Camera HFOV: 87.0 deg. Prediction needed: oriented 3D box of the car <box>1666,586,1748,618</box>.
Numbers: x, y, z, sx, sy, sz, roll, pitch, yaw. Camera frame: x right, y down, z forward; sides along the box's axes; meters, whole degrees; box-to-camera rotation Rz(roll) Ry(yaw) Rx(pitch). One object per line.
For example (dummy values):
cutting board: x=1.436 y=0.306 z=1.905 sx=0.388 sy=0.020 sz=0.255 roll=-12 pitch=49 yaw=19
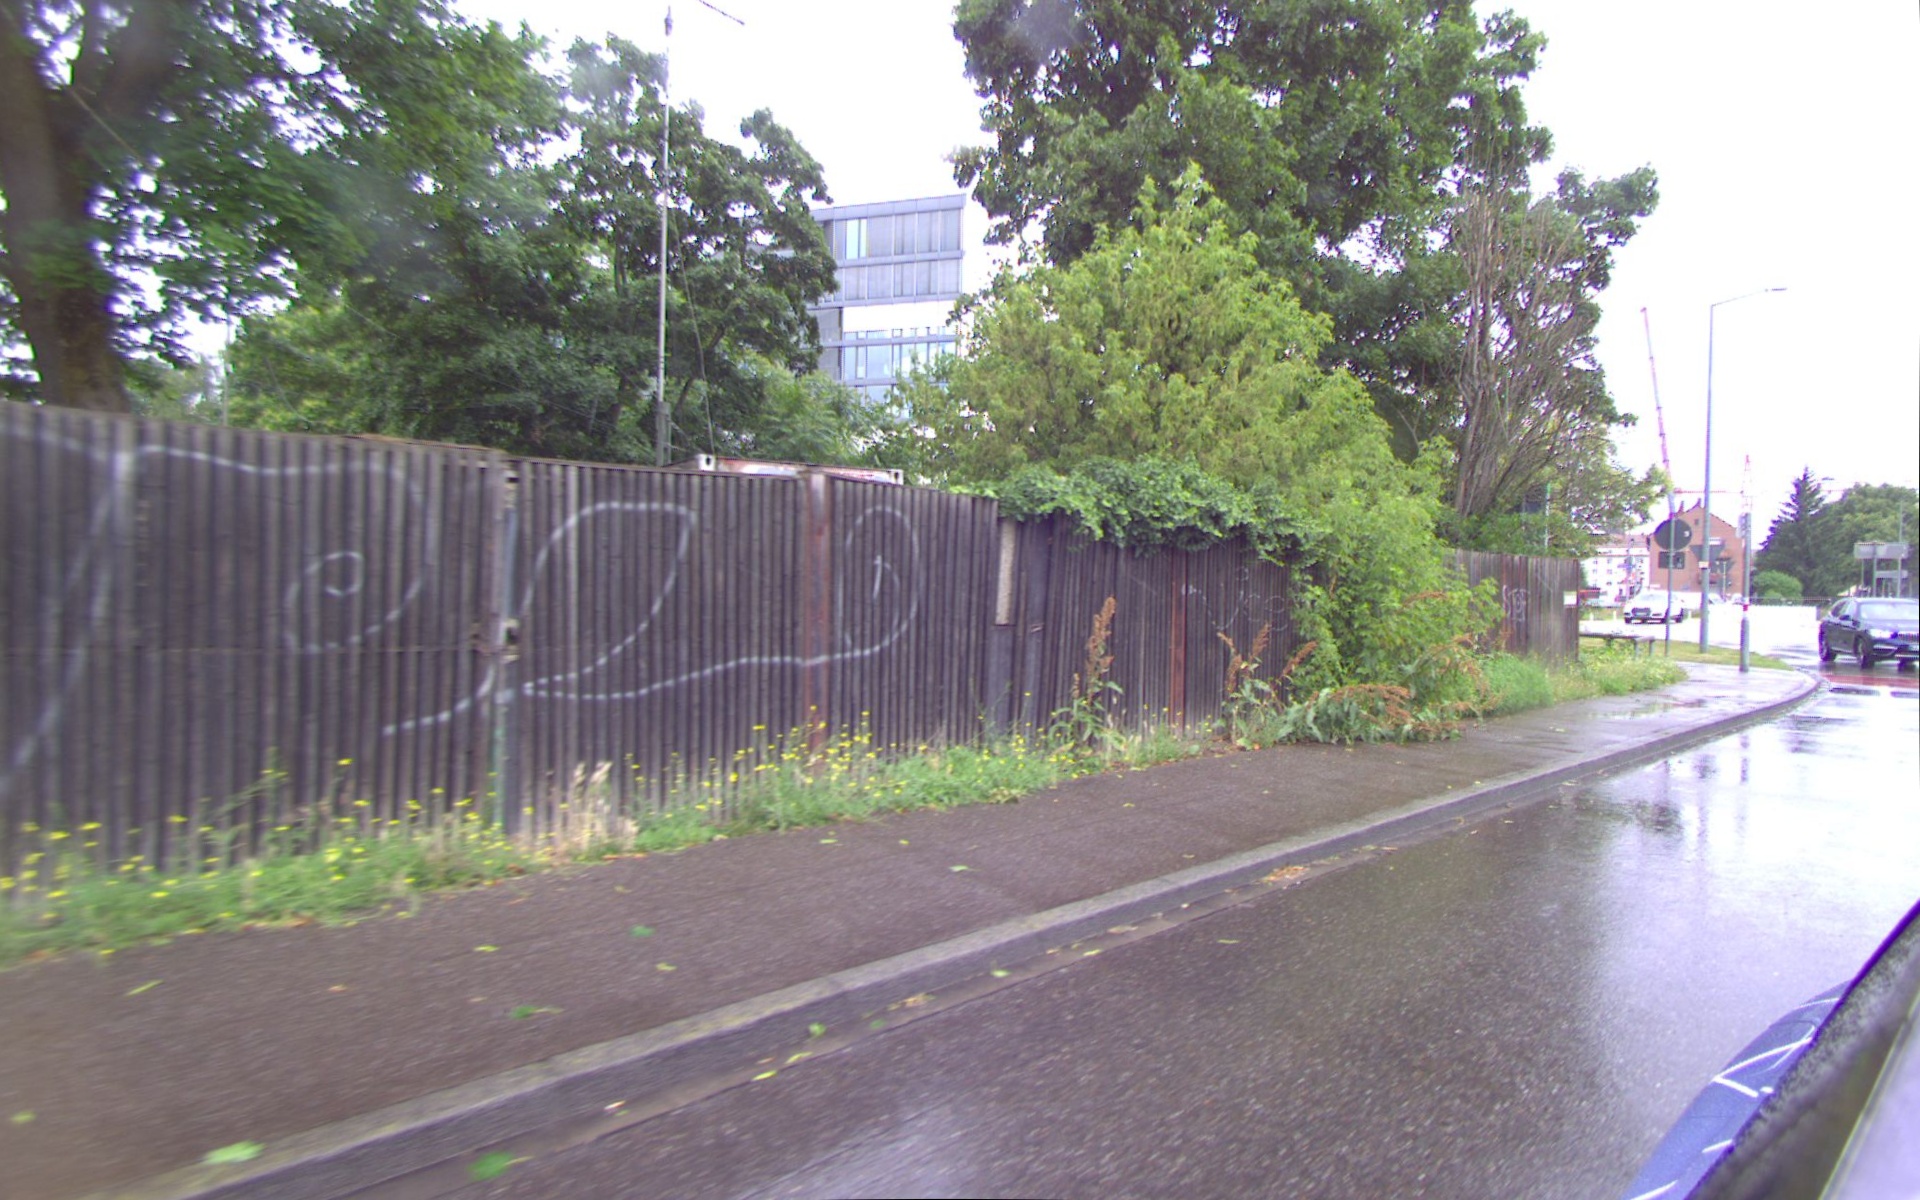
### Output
car: x=76.137 y=0.189 z=103.266 sx=2.308 sy=2.975 sz=6.441 roll=-2 pitch=2 yaw=-23

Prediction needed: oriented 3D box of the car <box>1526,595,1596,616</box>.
car: x=46.632 y=0.380 z=78.598 sx=4.527 sy=1.510 sz=1.589 roll=1 pitch=3 yaw=39

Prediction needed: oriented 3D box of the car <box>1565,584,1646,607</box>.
car: x=63.038 y=-0.484 z=98.992 sx=2.308 sy=2.038 sz=6.441 roll=-2 pitch=2 yaw=-23

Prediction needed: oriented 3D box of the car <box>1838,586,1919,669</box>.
car: x=23.043 y=0.601 z=24.706 sx=1.905 sy=1.768 sz=4.331 roll=0 pitch=3 yaw=34

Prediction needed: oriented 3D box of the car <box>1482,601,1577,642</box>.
car: x=28.133 y=1.027 z=50.169 sx=1.879 sy=1.768 sz=4.389 roll=-1 pitch=2 yaw=-6

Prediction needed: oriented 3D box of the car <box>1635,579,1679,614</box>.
car: x=38.267 y=-0.235 z=55.513 sx=1.768 sy=1.765 sz=4.801 roll=1 pitch=3 yaw=38

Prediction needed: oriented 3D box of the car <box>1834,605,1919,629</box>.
car: x=60.572 y=1.112 z=66.481 sx=4.492 sy=1.510 sz=1.602 roll=0 pitch=2 yaw=20
